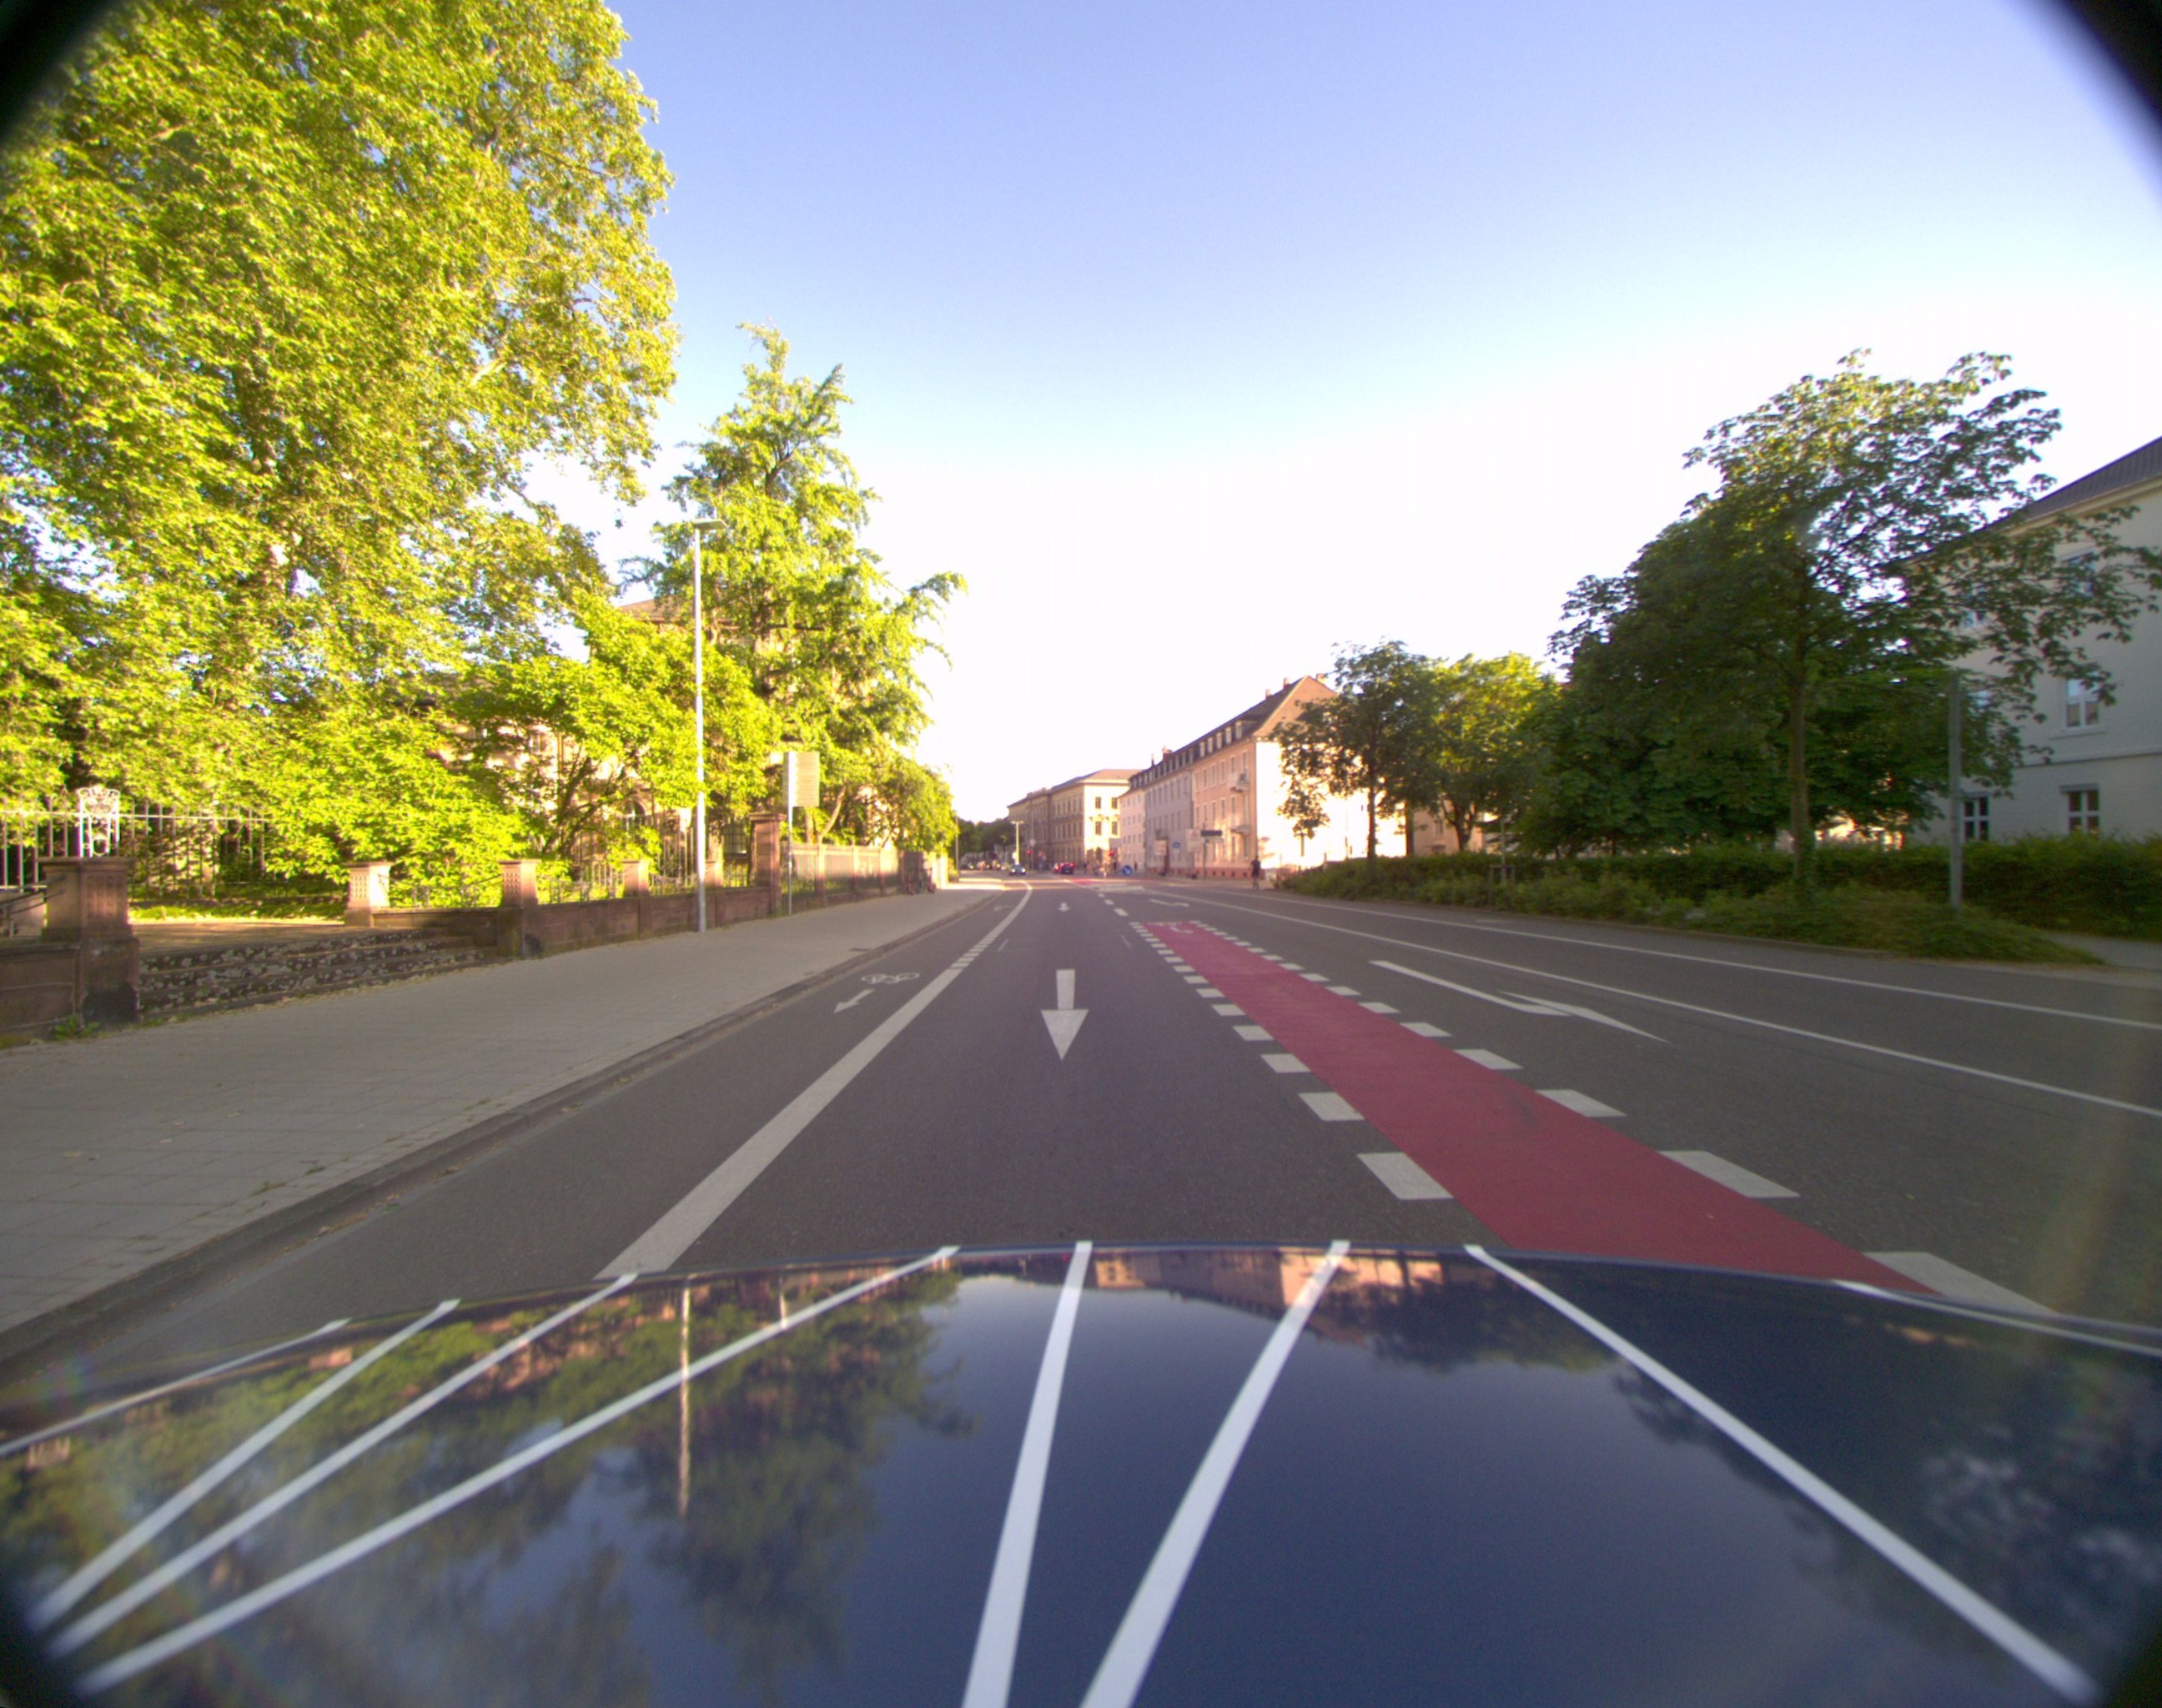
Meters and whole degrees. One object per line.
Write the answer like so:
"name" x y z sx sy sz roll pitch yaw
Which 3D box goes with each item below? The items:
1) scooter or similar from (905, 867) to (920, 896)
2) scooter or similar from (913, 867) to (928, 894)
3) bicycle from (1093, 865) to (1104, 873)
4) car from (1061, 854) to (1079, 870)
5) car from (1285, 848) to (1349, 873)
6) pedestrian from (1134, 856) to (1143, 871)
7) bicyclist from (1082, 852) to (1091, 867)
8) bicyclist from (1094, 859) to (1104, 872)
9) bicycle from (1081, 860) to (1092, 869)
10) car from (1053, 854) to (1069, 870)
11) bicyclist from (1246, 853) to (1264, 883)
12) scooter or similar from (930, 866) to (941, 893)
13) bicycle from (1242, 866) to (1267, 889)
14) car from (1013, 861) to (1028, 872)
"scooter or similar" -7.507 1.209 33.742 0.576 1.246 1.486 0 0 -15
"scooter or similar" -7.518 1.226 35.594 0.576 1.177 1.487 0 0 -7
"bicycle" 1.987 1.717 86.686 0.663 0.907 2.861 0 0 -9
"car" -1.366 0.994 94.117 1.999 2.002 3.998 0 0 -5
"car" 17.423 0.480 56.231 4.000 1.652 1.998 -2 1 -9
"pedestrian" 7.723 1.282 102.173 0.949 1.894 1.062 -2 1 -7
"bicyclist" 0.751 0.714 99.968 0.956 2.002 1.307 0 0 -9
"bicyclist" 2.013 1.258 86.465 1.026 1.481 0.870 0 0 -9
"bicycle" 0.710 1.400 99.984 0.956 1.216 2.777 0 0 -9
"car" -2.674 1.034 100.860 1.999 2.002 3.998 0 0 -5
"bicyclist" 9.159 0.735 40.009 0.691 1.553 0.838 1 0 -3
"scooter or similar" -7.043 1.217 36.675 0.517 1.233 1.521 0 0 -11
"bicycle" 9.151 1.210 40.083 0.697 1.152 2.245 1 0 -3
"car" -7.540 1.519 93.986 1.710 1.397 4.262 0 0 -6
